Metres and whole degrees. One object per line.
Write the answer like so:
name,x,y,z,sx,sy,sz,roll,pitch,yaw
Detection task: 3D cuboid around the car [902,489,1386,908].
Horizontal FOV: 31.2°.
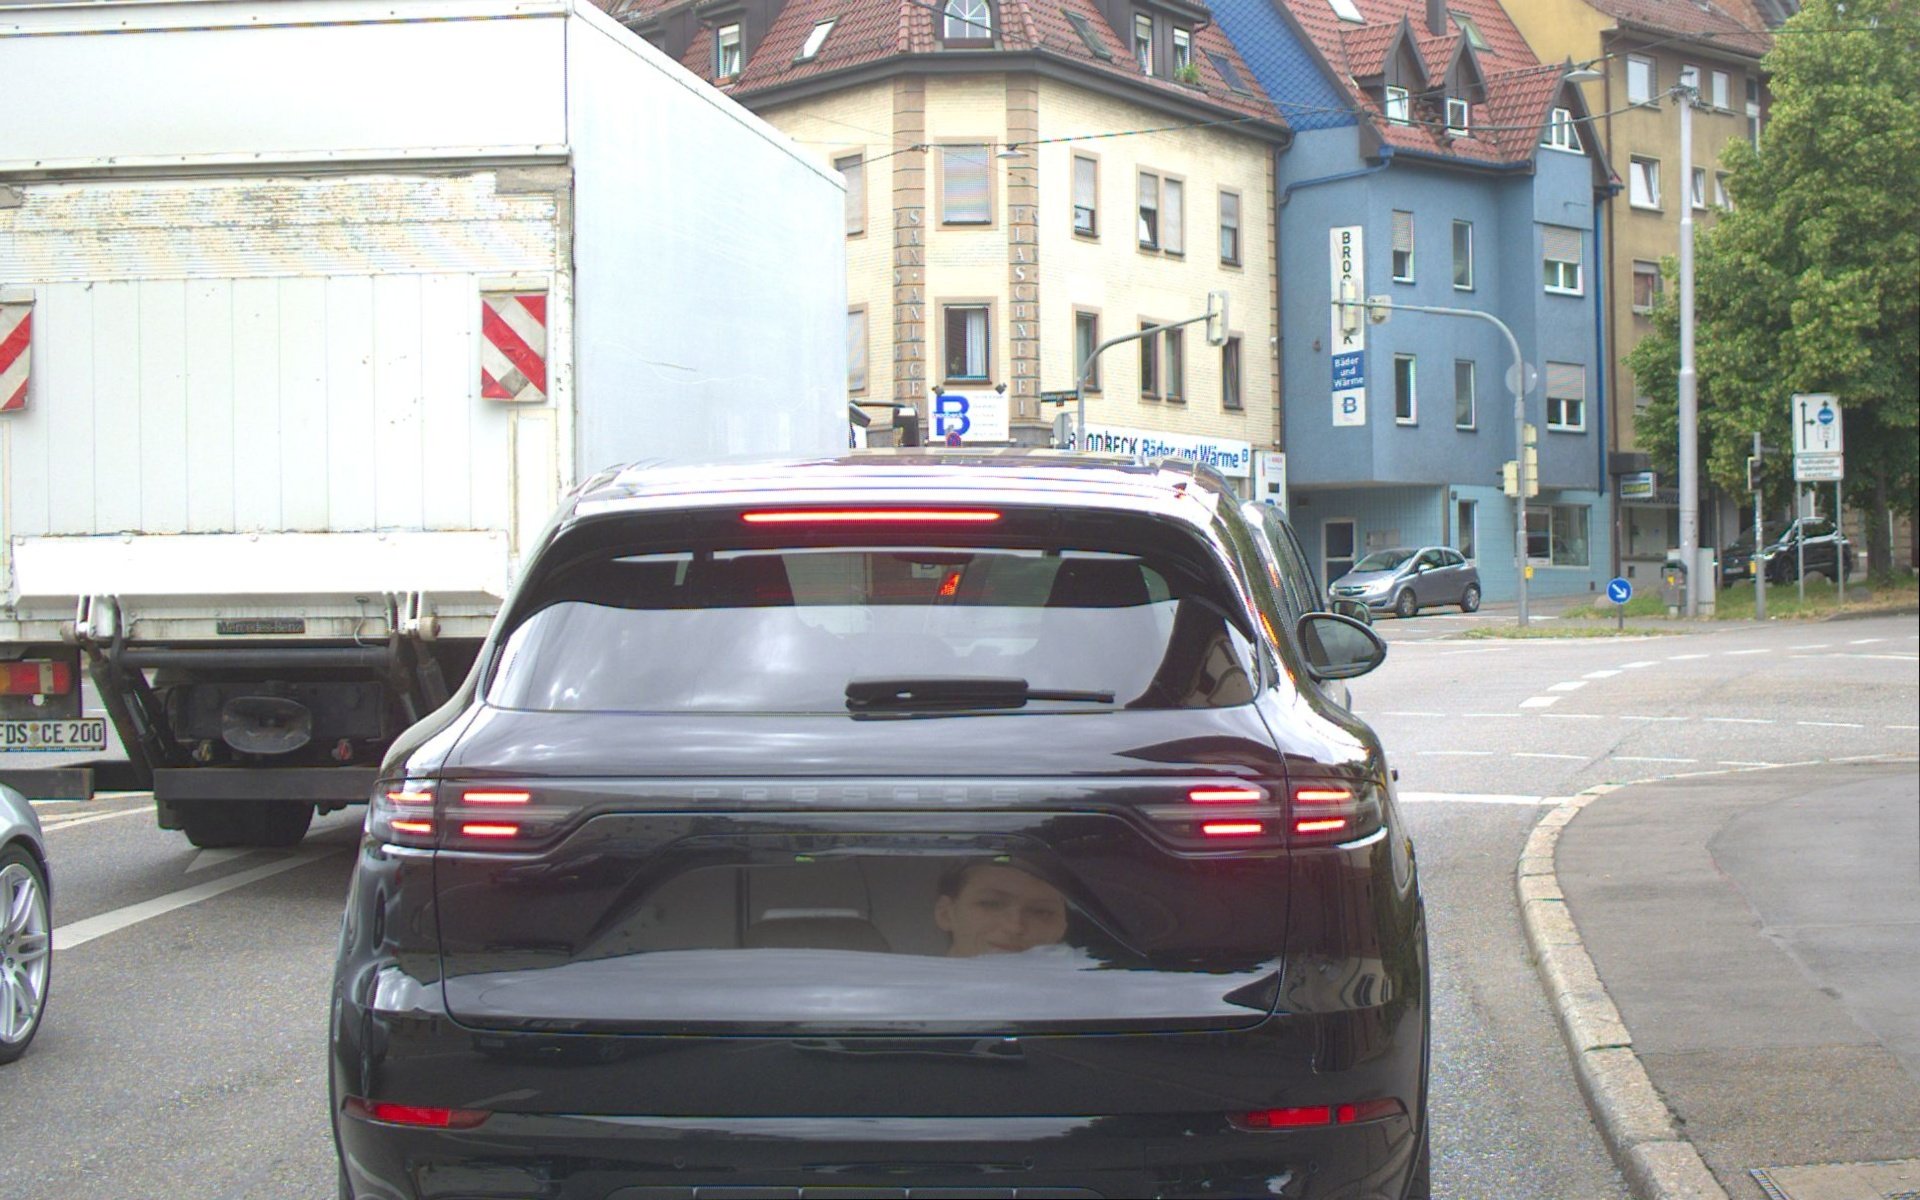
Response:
car,0.903,0.349,14.759,1.649,1.550,3.581,1,1,10

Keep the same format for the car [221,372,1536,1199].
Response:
car,-0.155,0.480,7.607,2.031,1.717,4.500,1,1,-1

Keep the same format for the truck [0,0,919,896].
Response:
truck,-2.216,-0.715,17.341,2.726,3.532,8.419,-1,1,8

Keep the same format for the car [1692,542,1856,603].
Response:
car,19.709,-0.652,83.123,1.874,1.411,4.687,1,1,41

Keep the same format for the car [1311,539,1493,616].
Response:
car,9.171,-0.445,71.123,1.720,1.471,4.208,0,-1,40

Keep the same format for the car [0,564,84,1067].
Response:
car,-3.516,0.629,8.045,1.629,1.360,4.128,-1,1,4
